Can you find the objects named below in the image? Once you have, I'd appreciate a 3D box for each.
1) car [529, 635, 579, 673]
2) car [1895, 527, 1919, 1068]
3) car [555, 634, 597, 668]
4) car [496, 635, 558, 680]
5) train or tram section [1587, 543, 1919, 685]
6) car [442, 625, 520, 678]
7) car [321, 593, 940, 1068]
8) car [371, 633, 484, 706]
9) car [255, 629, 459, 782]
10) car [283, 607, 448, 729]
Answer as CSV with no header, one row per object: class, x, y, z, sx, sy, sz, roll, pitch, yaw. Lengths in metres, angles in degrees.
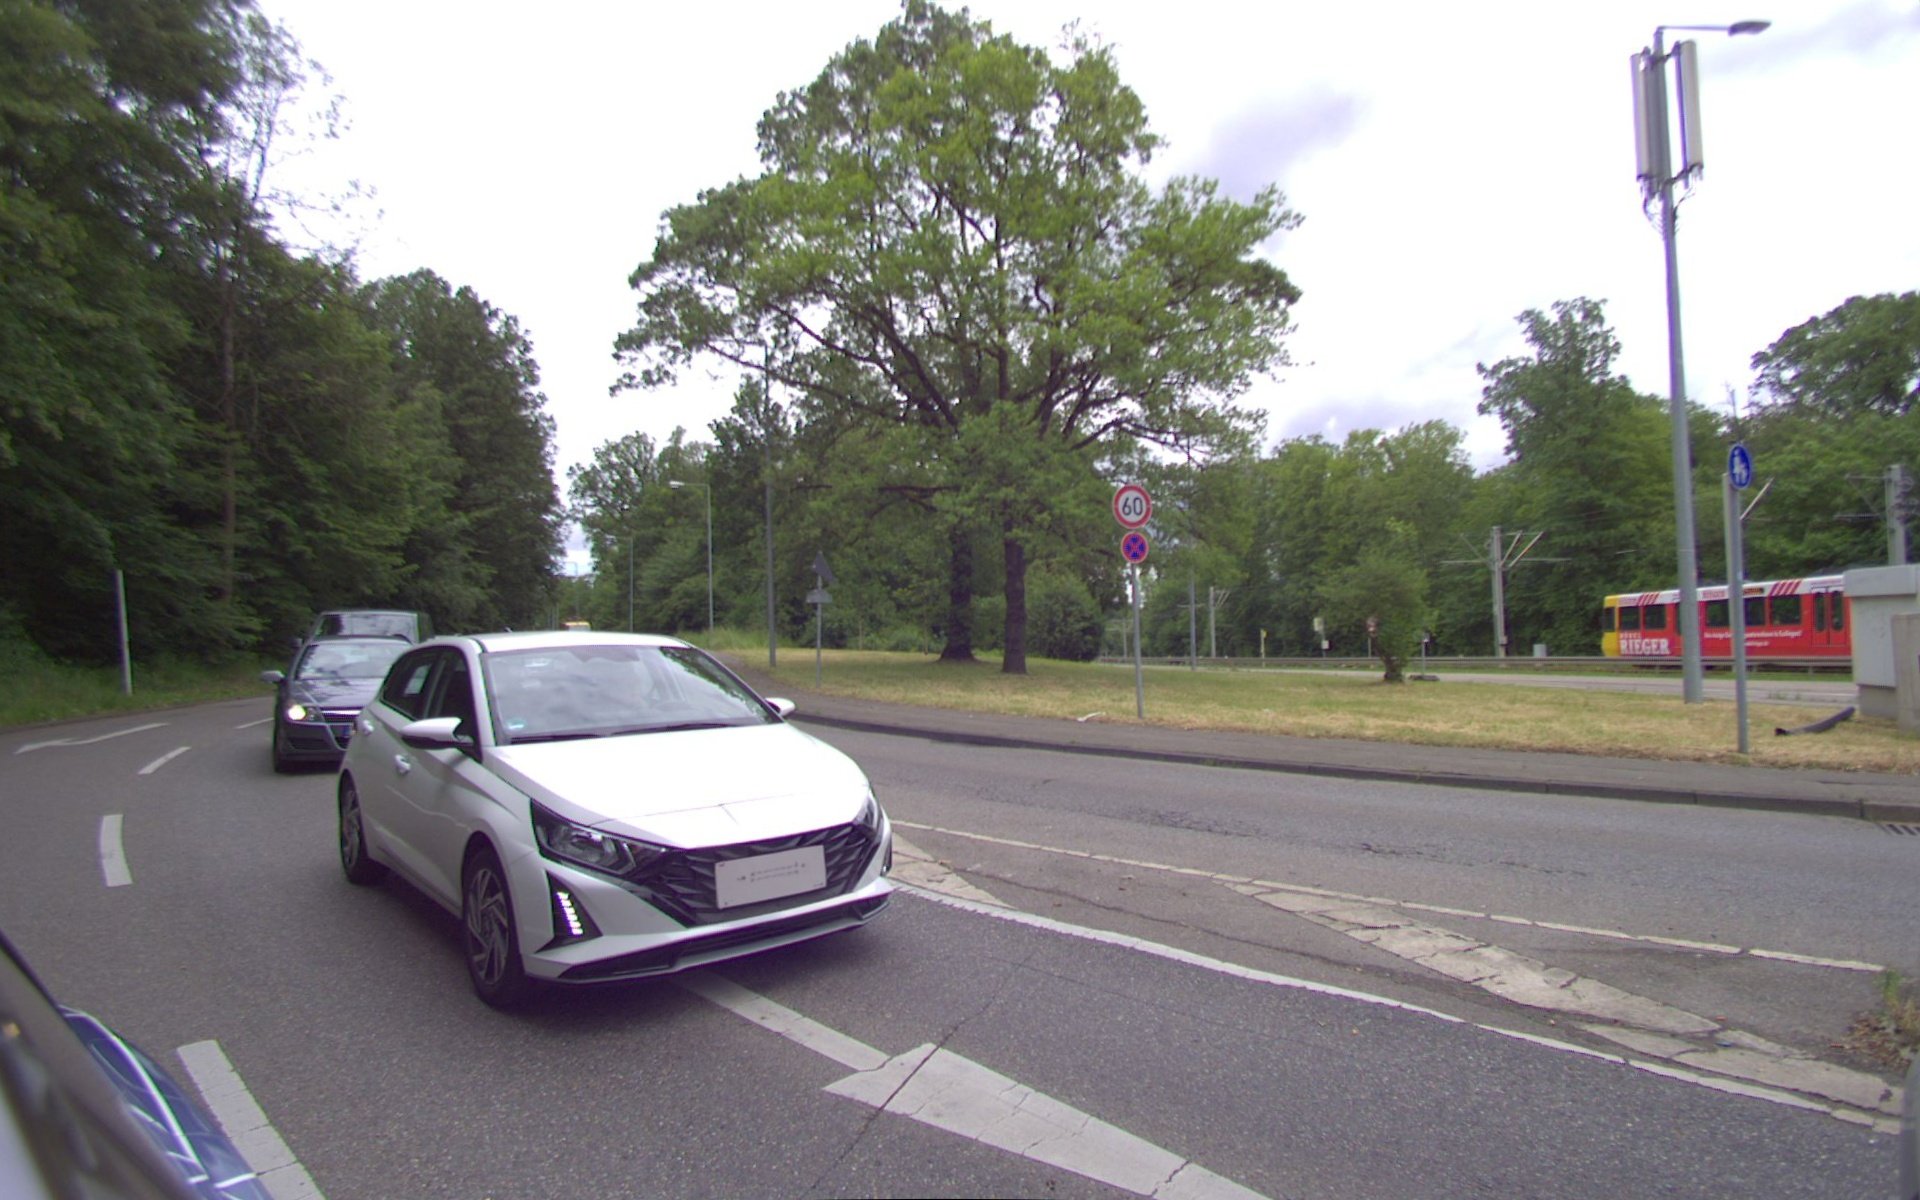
car,-17.179,2.258,42.951,1.749,1.511,3.884,0,-2,-19
car,2.605,0.618,0.700,2.725,1.598,1.443,-2,-3,39
car,-18.278,2.412,48.293,1.749,1.511,3.884,0,-2,-19
car,-15.477,2.041,36.353,1.749,1.511,3.884,0,-2,-19
train or tram section,31.505,0.497,39.092,2.924,4.452,18.727,0,-1,0
car,-14.739,1.569,31.328,1.749,1.511,3.884,0,-2,-19
car,-2.027,0.811,5.290,1.629,1.490,4.079,2,-3,-41
car,-13.561,1.721,26.002,1.764,1.687,4.002,-1,-2,-15
car,-7.327,1.126,12.236,1.774,1.490,4.482,1,-3,-33
car,-10.452,1.152,18.142,1.957,1.887,4.546,1,-2,-23
